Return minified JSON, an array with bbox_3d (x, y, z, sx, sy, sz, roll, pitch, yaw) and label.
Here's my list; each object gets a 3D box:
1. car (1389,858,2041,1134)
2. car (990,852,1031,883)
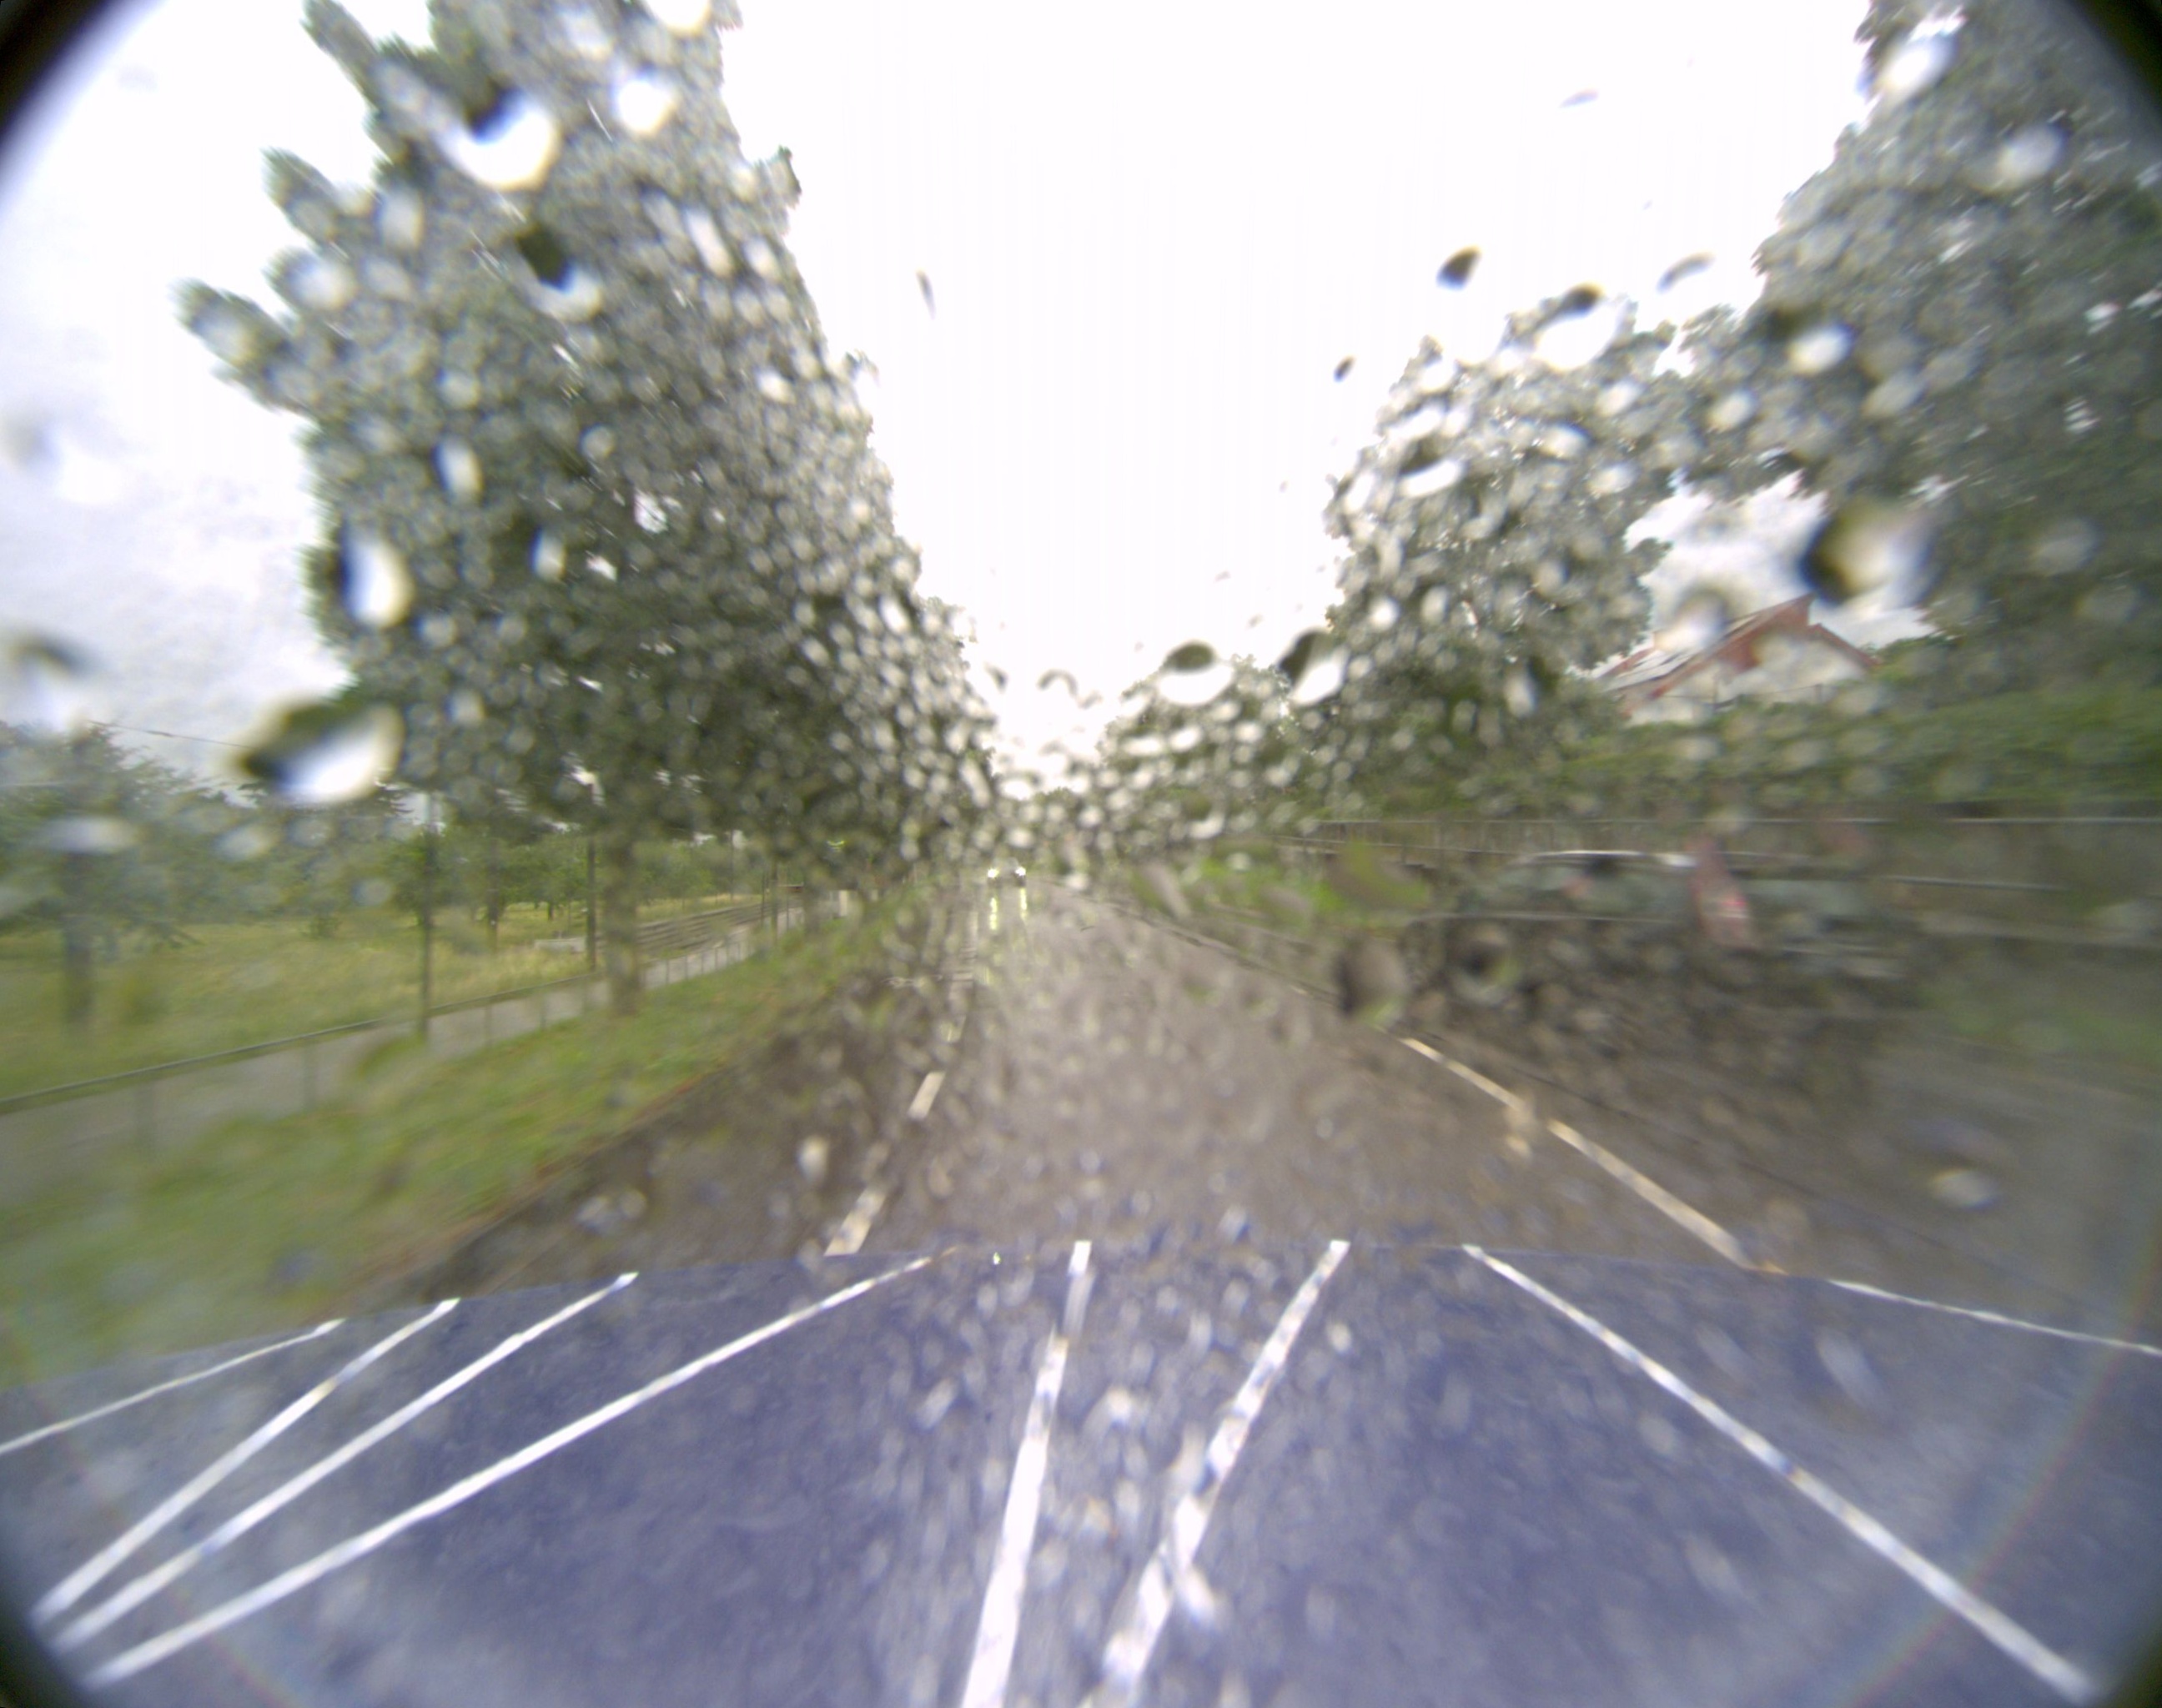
[{"bbox_3d":[4.538,0.826,6.447,1.766,1.494,4.138,1,1,-7],"label":"car"},{"bbox_3d":[-3.614,0.720,38.529,1.766,1.477,3.788,0,-2,-10],"label":"car"}]
